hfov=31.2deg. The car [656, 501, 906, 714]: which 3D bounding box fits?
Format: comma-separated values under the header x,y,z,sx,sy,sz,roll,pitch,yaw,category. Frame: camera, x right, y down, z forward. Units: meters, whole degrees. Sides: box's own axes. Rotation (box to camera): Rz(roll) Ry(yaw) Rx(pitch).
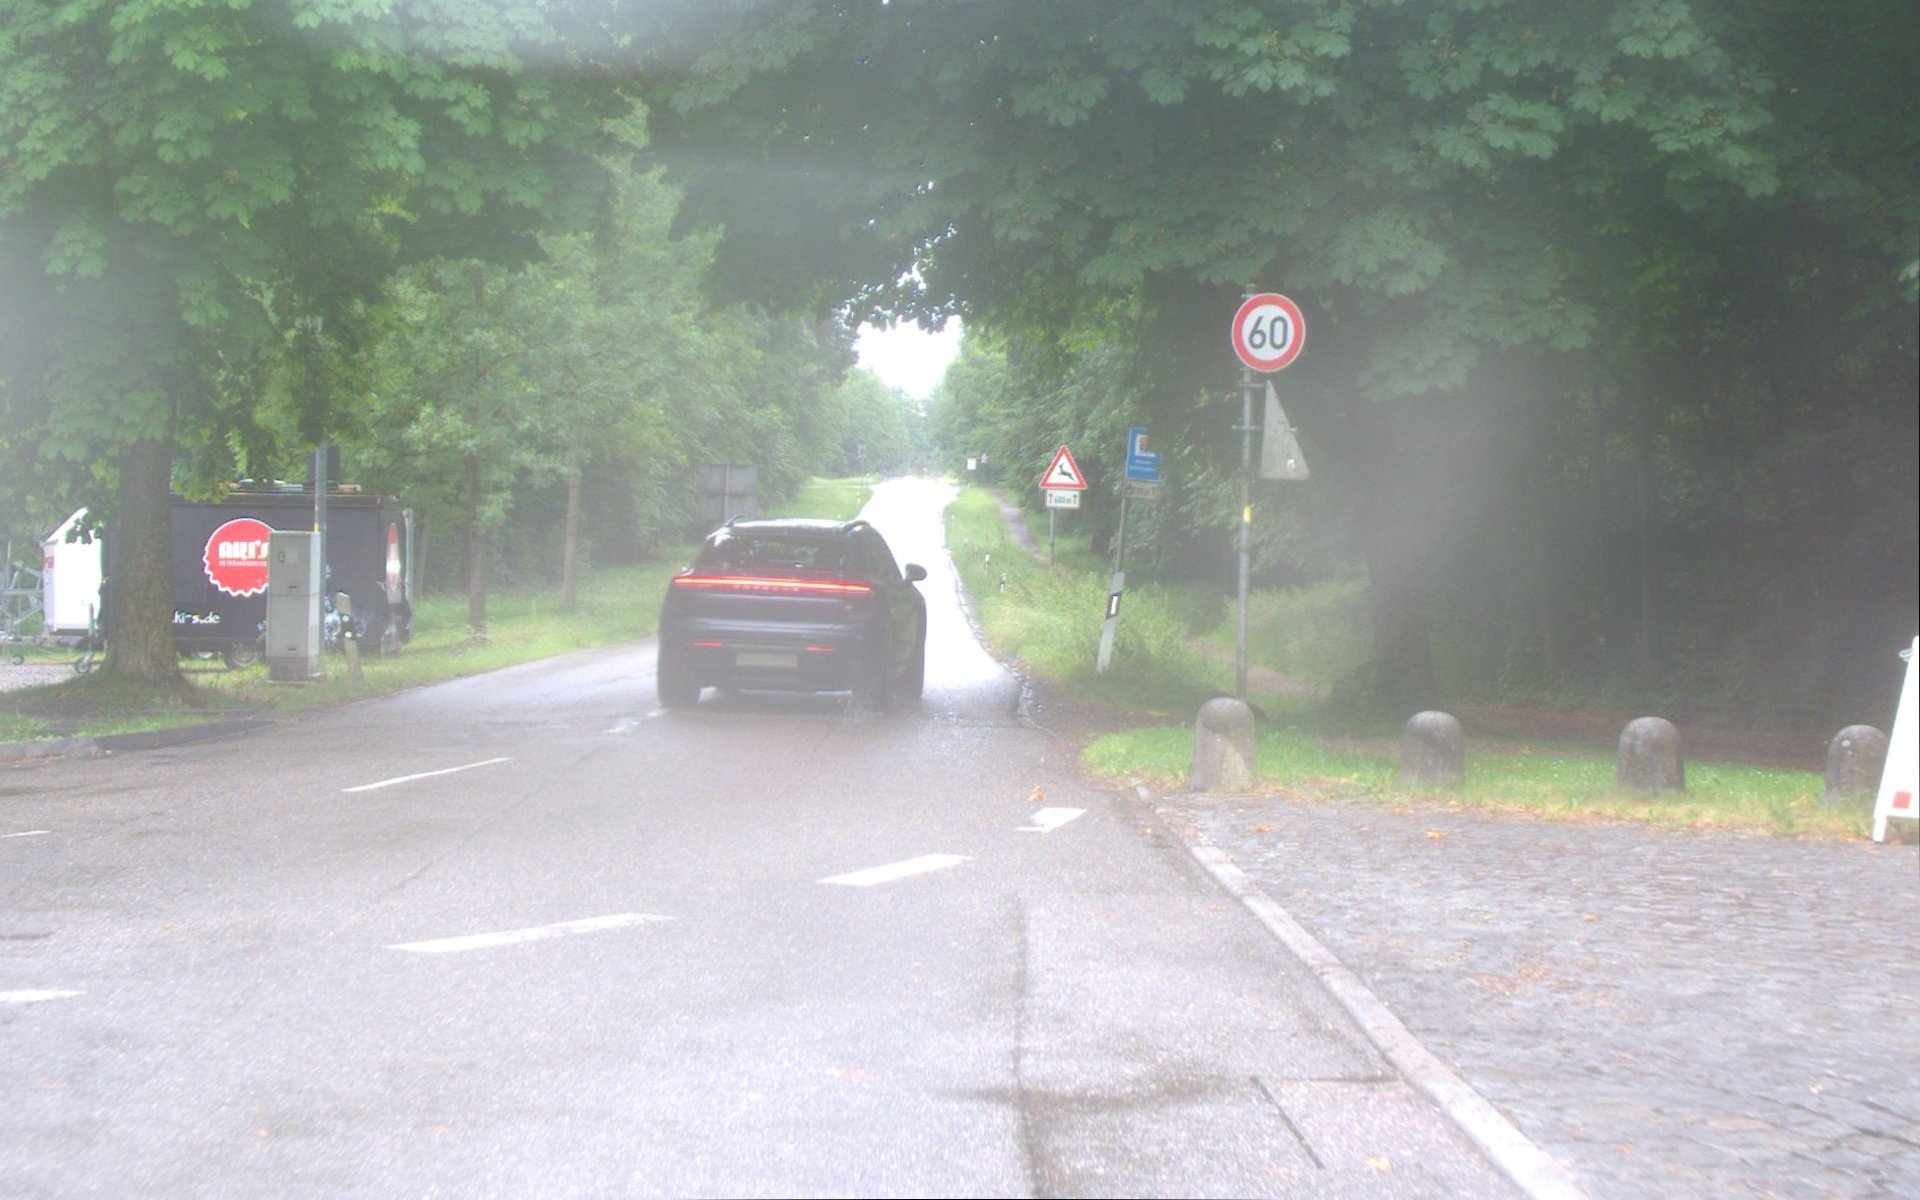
x,y,z,sx,sy,sz,roll,pitch,yaw,category
-1.497,-0.002,30.334,1.726,1.703,4.575,-1,2,3,car
